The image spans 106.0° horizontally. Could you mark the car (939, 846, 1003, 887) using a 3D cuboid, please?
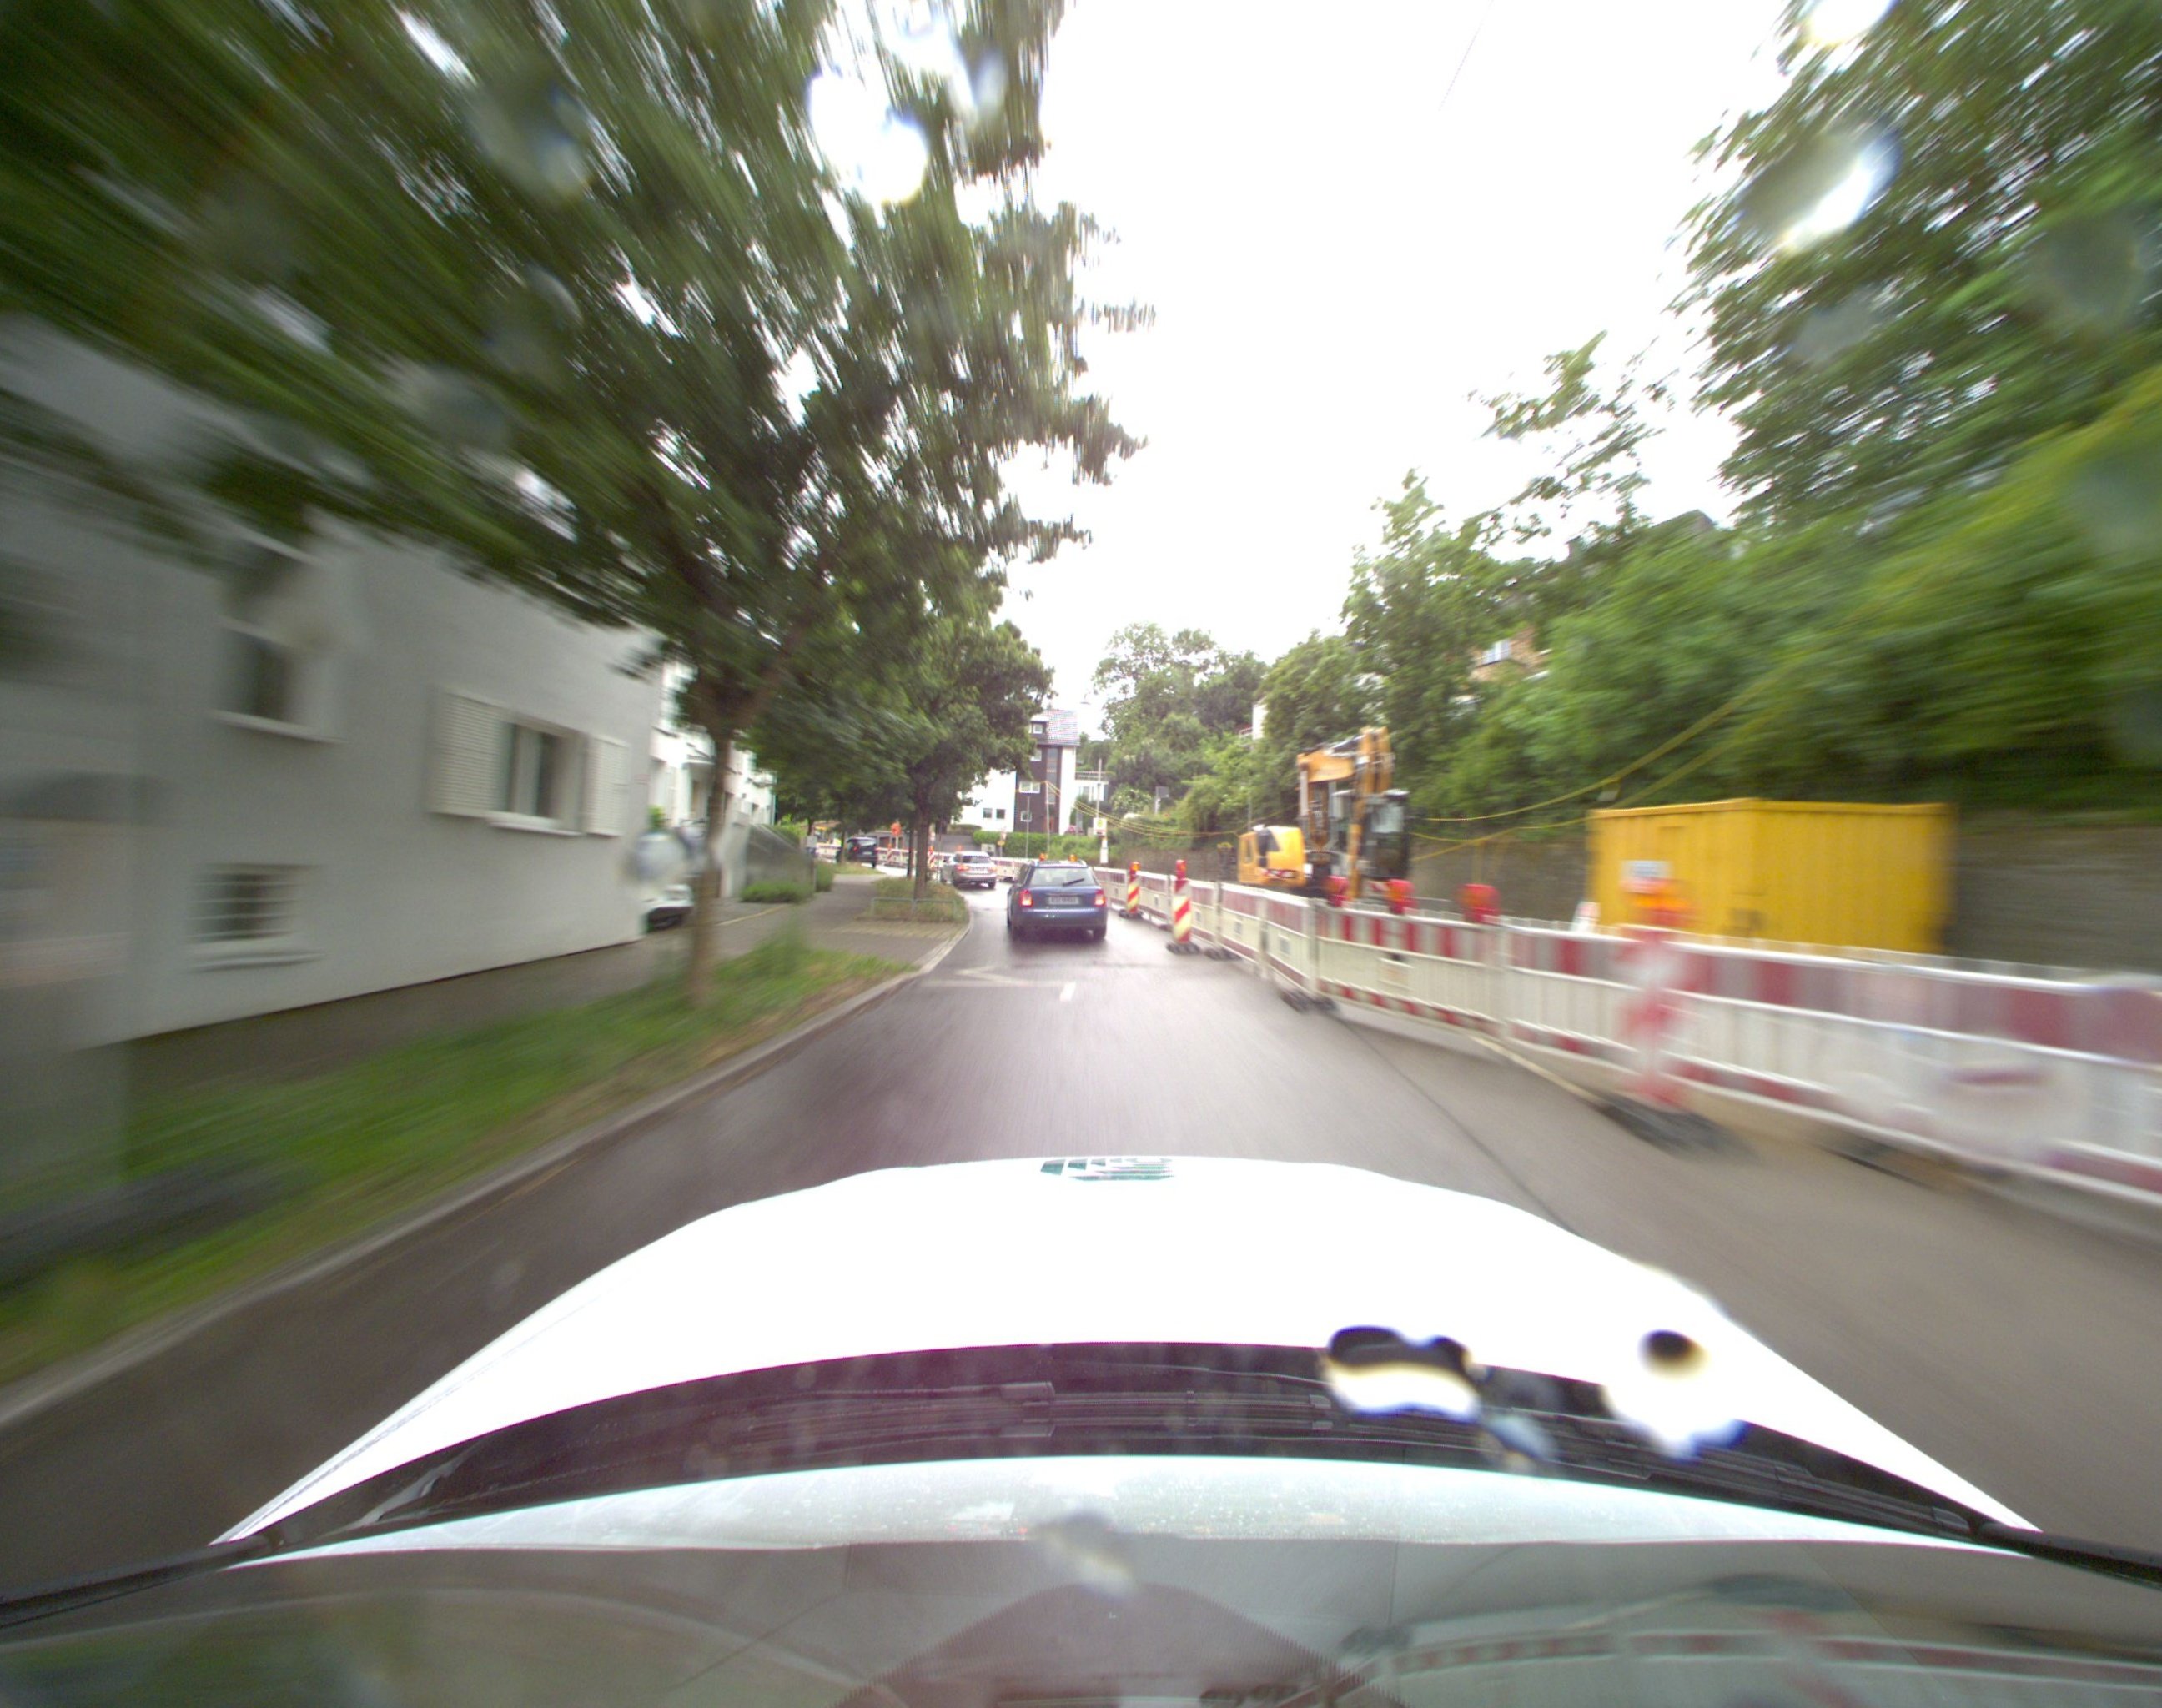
[{"bbox_3d":[-4.728,0.490,34.457,1.931,1.618,4.294,1,0,-18],"label":"car"}]

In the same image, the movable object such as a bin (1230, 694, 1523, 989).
[{"bbox_3d":[4.727,-0.187,14.845,2.809,4.014,7.329,1,0,1],"label":"movable object such as a bin"}]

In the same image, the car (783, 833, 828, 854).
[{"bbox_3d":[-20.780,-0.762,61.325,1.736,1.486,4.027,0,-1,-42],"label":"car"}]

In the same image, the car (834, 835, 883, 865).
[{"bbox_3d":[-14.202,-0.248,51.786,2.007,1.794,3.960,0,-1,-32],"label":"car"}]

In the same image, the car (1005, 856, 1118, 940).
[{"bbox_3d":[-0.508,0.768,16.024,1.785,1.442,3.952,0,0,-8],"label":"car"}]

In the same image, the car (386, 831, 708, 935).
[{"bbox_3d":[-8.422,0.440,13.109,3.974,1.561,1.750,0,-1,0],"label":"car"}]

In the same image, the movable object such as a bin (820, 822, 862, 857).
[{"bbox_3d":[-19.824,-1.211,67.122,2.009,2.613,3.957,1,3,-36],"label":"movable object such as a bin"}]
